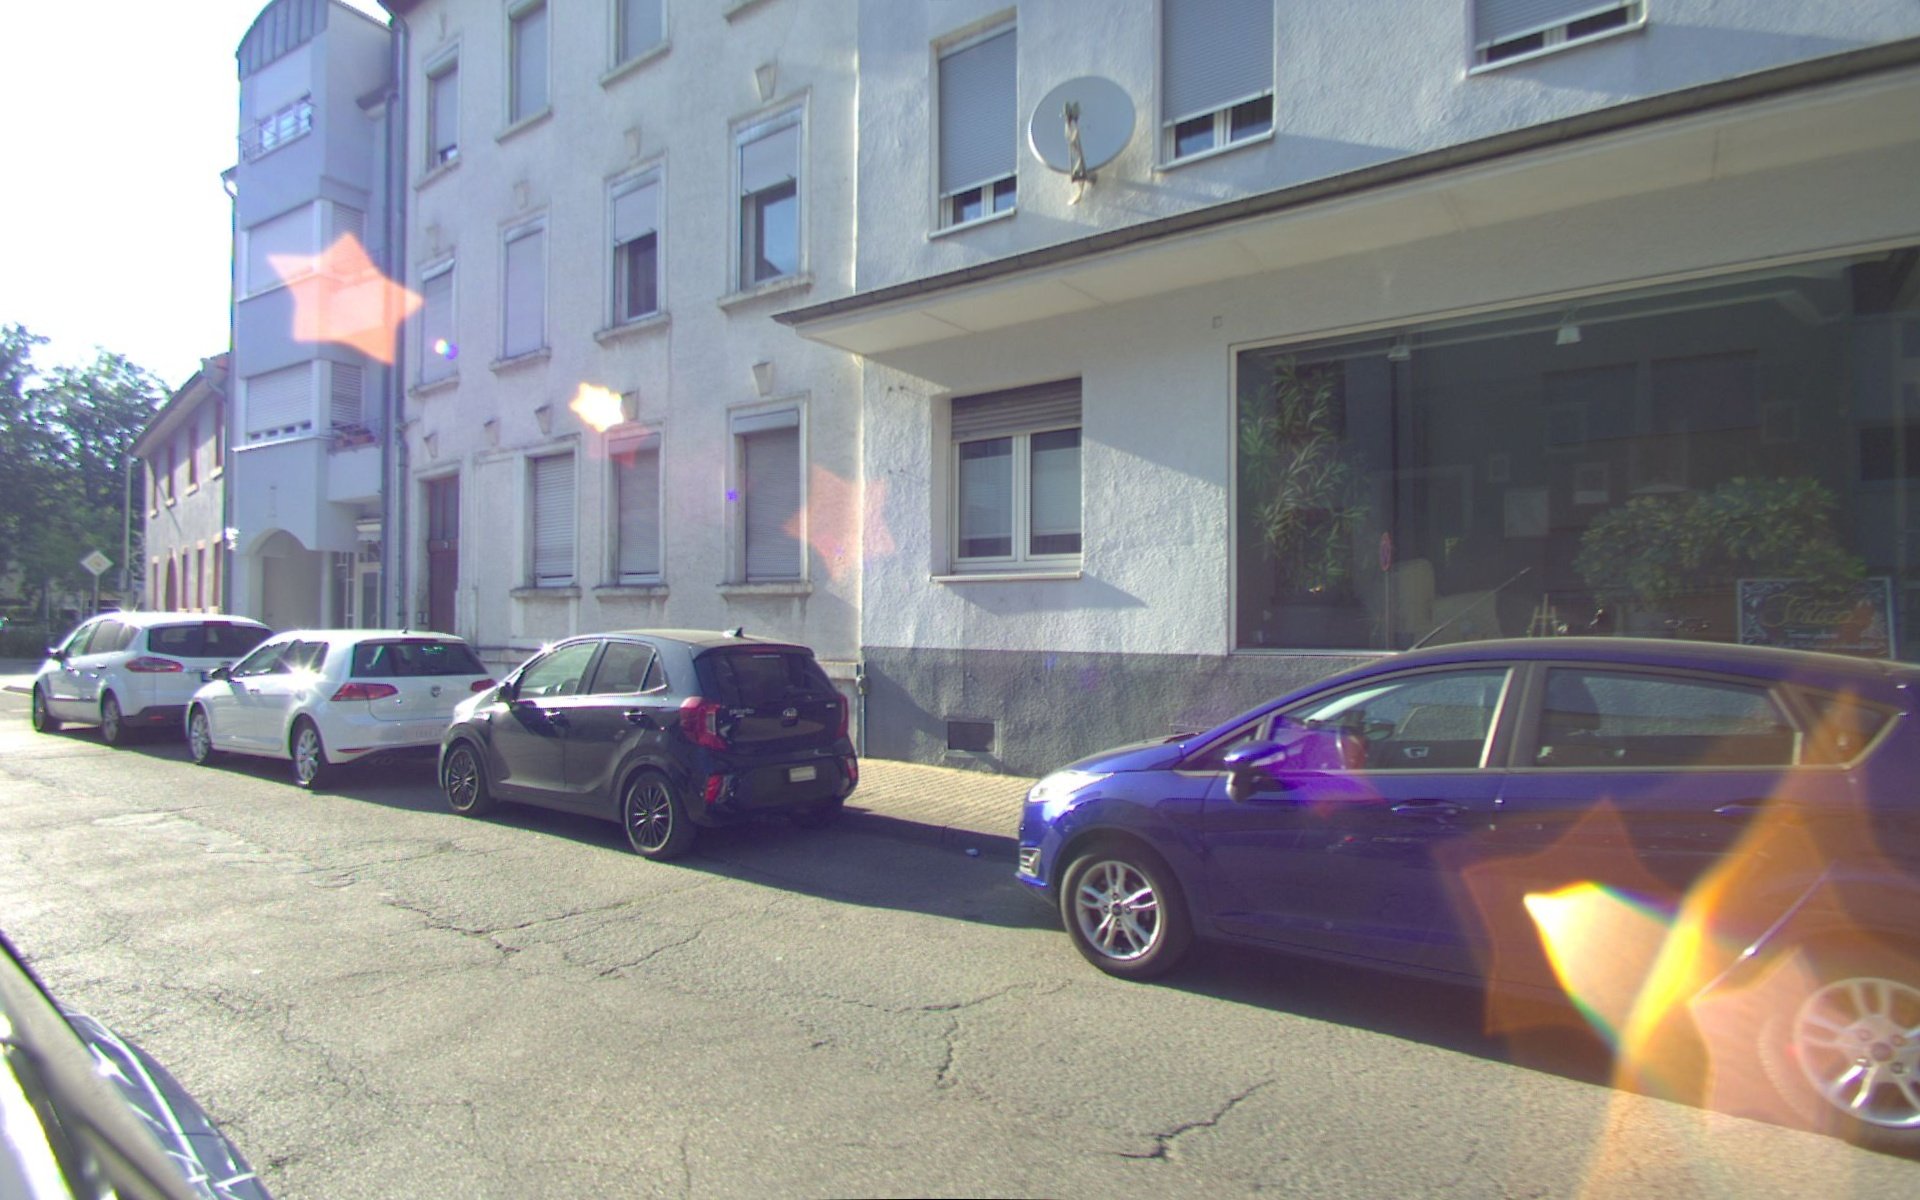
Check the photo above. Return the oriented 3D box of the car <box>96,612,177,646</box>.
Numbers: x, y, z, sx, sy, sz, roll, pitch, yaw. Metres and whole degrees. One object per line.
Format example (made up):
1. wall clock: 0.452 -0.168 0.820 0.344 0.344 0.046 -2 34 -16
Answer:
1. car: -49.002 1.744 60.197 4.297 1.963 2.008 -1 -2 24

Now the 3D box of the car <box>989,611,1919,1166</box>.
1. car: 2.213 0.840 4.176 3.953 1.511 1.714 -2 -3 38

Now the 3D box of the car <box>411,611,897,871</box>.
1. car: -2.473 0.902 7.825 3.802 1.538 1.645 -1 -3 37

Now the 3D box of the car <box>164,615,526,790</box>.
1. car: -6.535 0.941 10.624 4.117 1.507 1.749 -1 -2 35

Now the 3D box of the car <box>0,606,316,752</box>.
1. car: -11.126 0.964 13.873 5.208 1.660 1.977 -1 -2 34

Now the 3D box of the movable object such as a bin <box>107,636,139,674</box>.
1. movable object such as a bin: -25.246 1.645 30.527 0.750 1.102 0.593 -1 -1 37

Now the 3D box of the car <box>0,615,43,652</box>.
1. car: -52.013 1.832 55.078 4.890 1.909 1.829 -1 -2 32

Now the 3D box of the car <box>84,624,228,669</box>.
1. car: -29.484 1.718 37.206 1.997 1.542 3.732 -2 -4 37
